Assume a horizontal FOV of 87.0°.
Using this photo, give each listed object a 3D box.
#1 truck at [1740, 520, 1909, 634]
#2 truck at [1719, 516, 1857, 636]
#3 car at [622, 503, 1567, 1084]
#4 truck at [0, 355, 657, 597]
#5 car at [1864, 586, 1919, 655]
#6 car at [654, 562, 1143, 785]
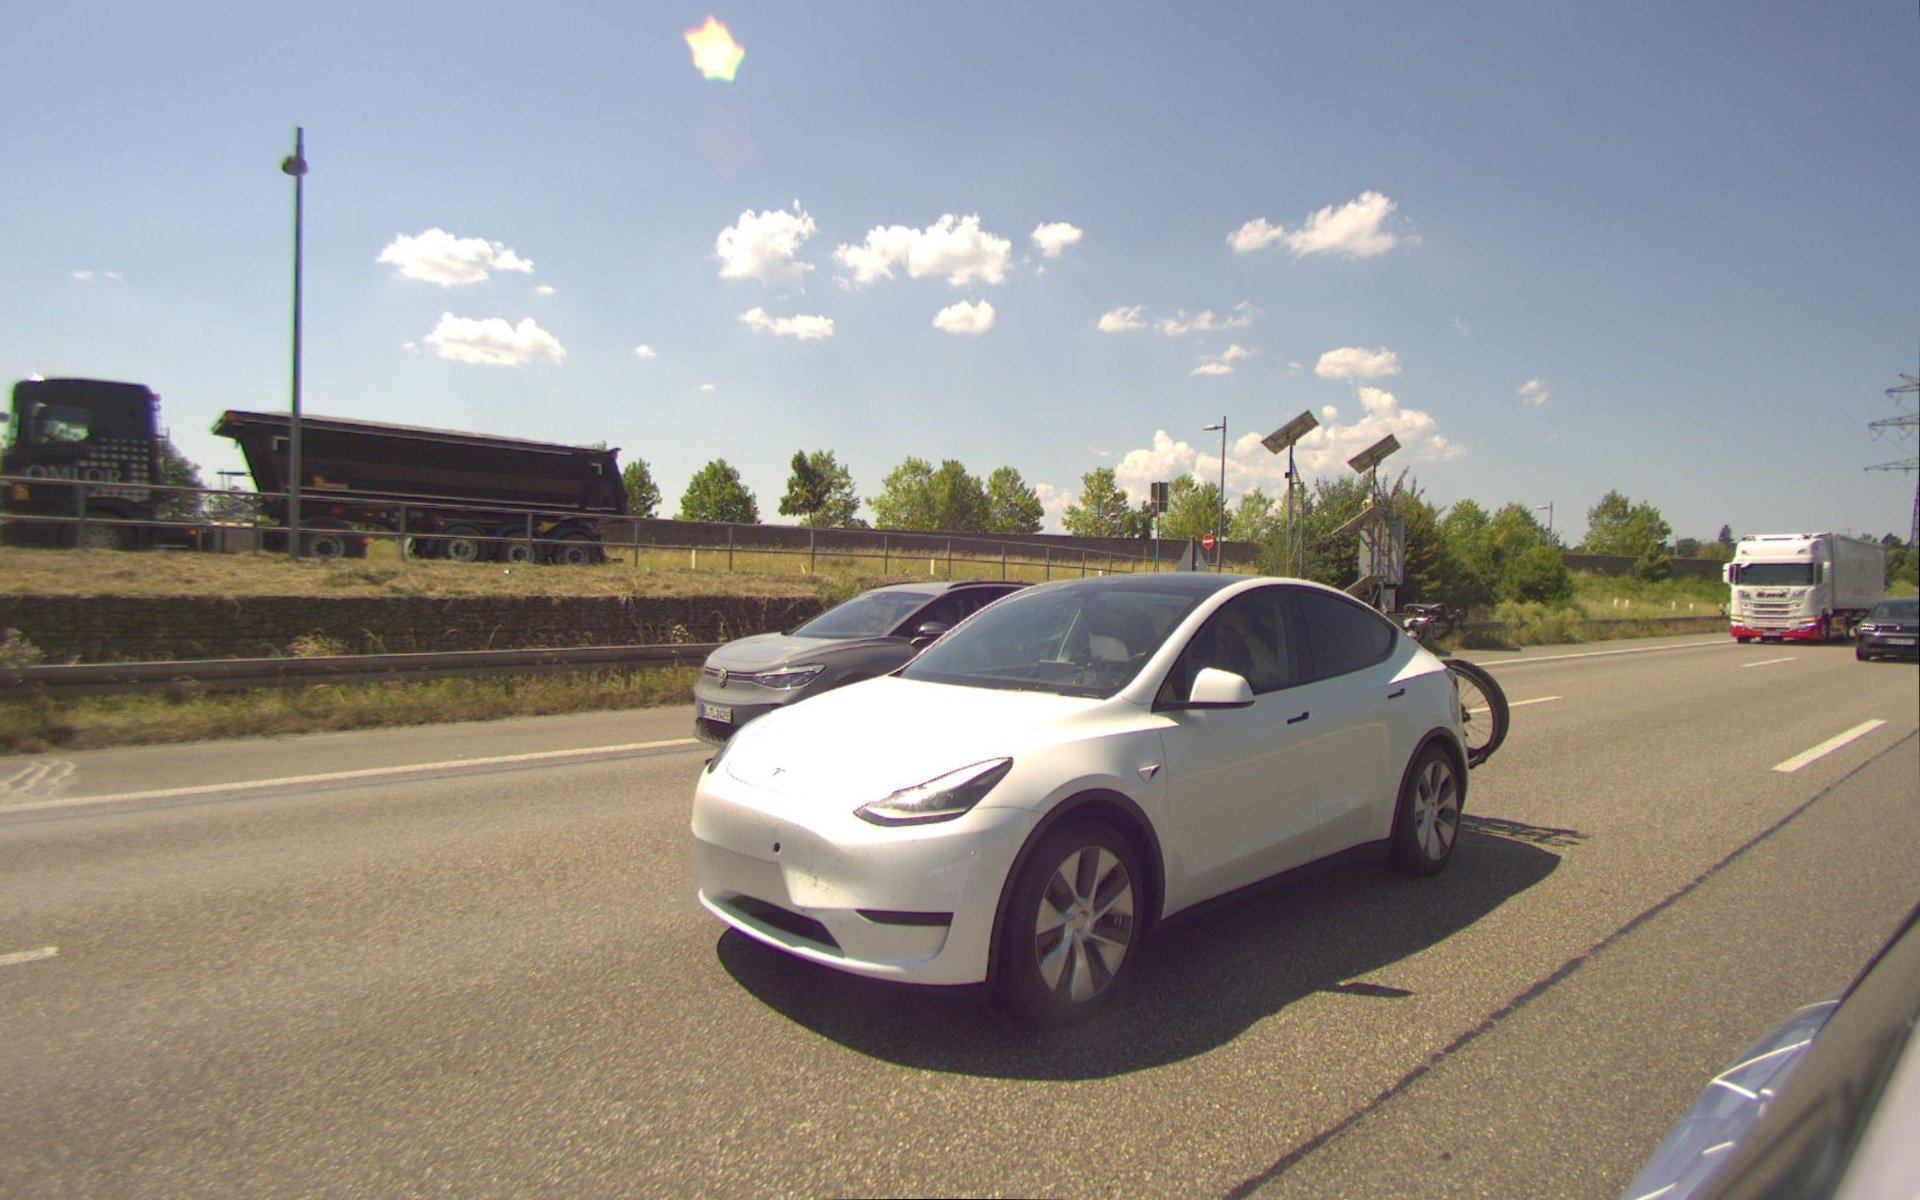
[{"bbox_3d":[34.430,-0.834,40.028,12.281,3.957,3.075,0,0,-40],"label":"truck"},{"bbox_3d":[29.122,-0.801,35.600,3.778,3.957,3.075,0,0,-39],"label":"truck"},{"bbox_3d":[1.234,0.527,5.459,5.504,1.657,1.953,-1,0,-42],"label":"car"},{"bbox_3d":[-13.389,-2.183,22.552,12.303,4.134,3.794,-1,0,-42],"label":"truck"},{"bbox_3d":[24.526,0.482,25.551,3.975,1.667,1.954,0,0,-40],"label":"car"},{"bbox_3d":[-0.398,0.525,9.708,4.506,1.657,1.871,-1,0,-42],"label":"car"}]
